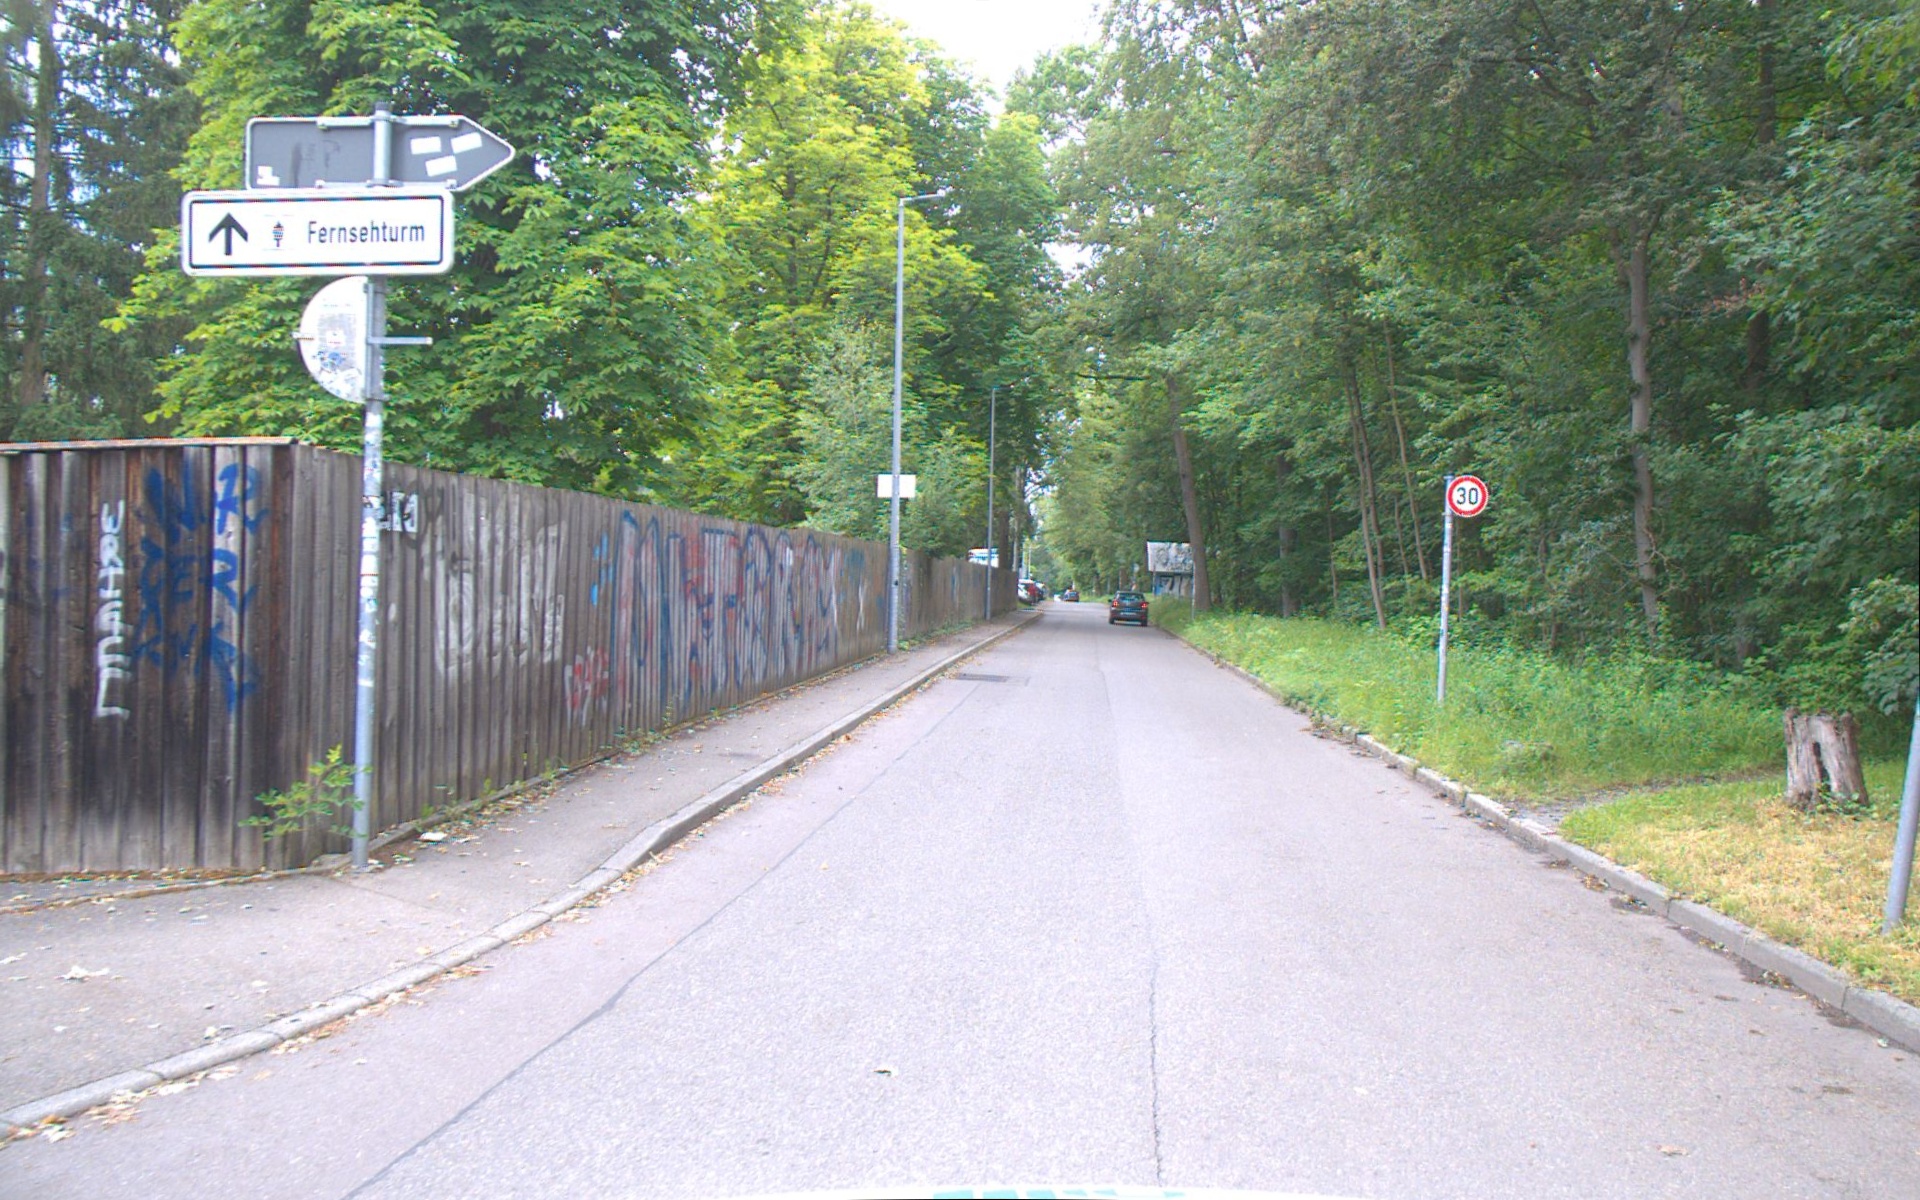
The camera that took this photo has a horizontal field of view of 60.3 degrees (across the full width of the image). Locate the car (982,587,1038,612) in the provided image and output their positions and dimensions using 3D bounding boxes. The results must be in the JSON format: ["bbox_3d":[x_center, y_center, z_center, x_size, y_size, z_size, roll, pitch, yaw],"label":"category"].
[{"bbox_3d":[3.502,-0.041,116.768,3.905,1.601,2.000,1,0,1],"label":"car"}]

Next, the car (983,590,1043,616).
[{"bbox_3d":[3.475,0.172,108.782,3.905,1.601,2.000,1,0,1],"label":"car"}]

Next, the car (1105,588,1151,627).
[{"bbox_3d":[7.431,0.320,73.079,1.868,1.534,4.002,4,0,6],"label":"car"}]

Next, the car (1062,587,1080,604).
[{"bbox_3d":[14.007,-0.586,208.704,1.953,2.049,3.999,1,0,-1],"label":"car"}]

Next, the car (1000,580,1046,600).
[{"bbox_3d":[5.360,-0.824,140.473,3.903,1.624,1.766,0,-1,4],"label":"car"}]

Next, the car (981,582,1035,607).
[{"bbox_3d":[3.508,-0.408,121.871,3.905,1.780,2.000,1,0,1],"label":"car"}]

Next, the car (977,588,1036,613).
[{"bbox_3d":[3.093,0.019,111.153,3.905,1.601,2.000,1,0,1],"label":"car"}]
